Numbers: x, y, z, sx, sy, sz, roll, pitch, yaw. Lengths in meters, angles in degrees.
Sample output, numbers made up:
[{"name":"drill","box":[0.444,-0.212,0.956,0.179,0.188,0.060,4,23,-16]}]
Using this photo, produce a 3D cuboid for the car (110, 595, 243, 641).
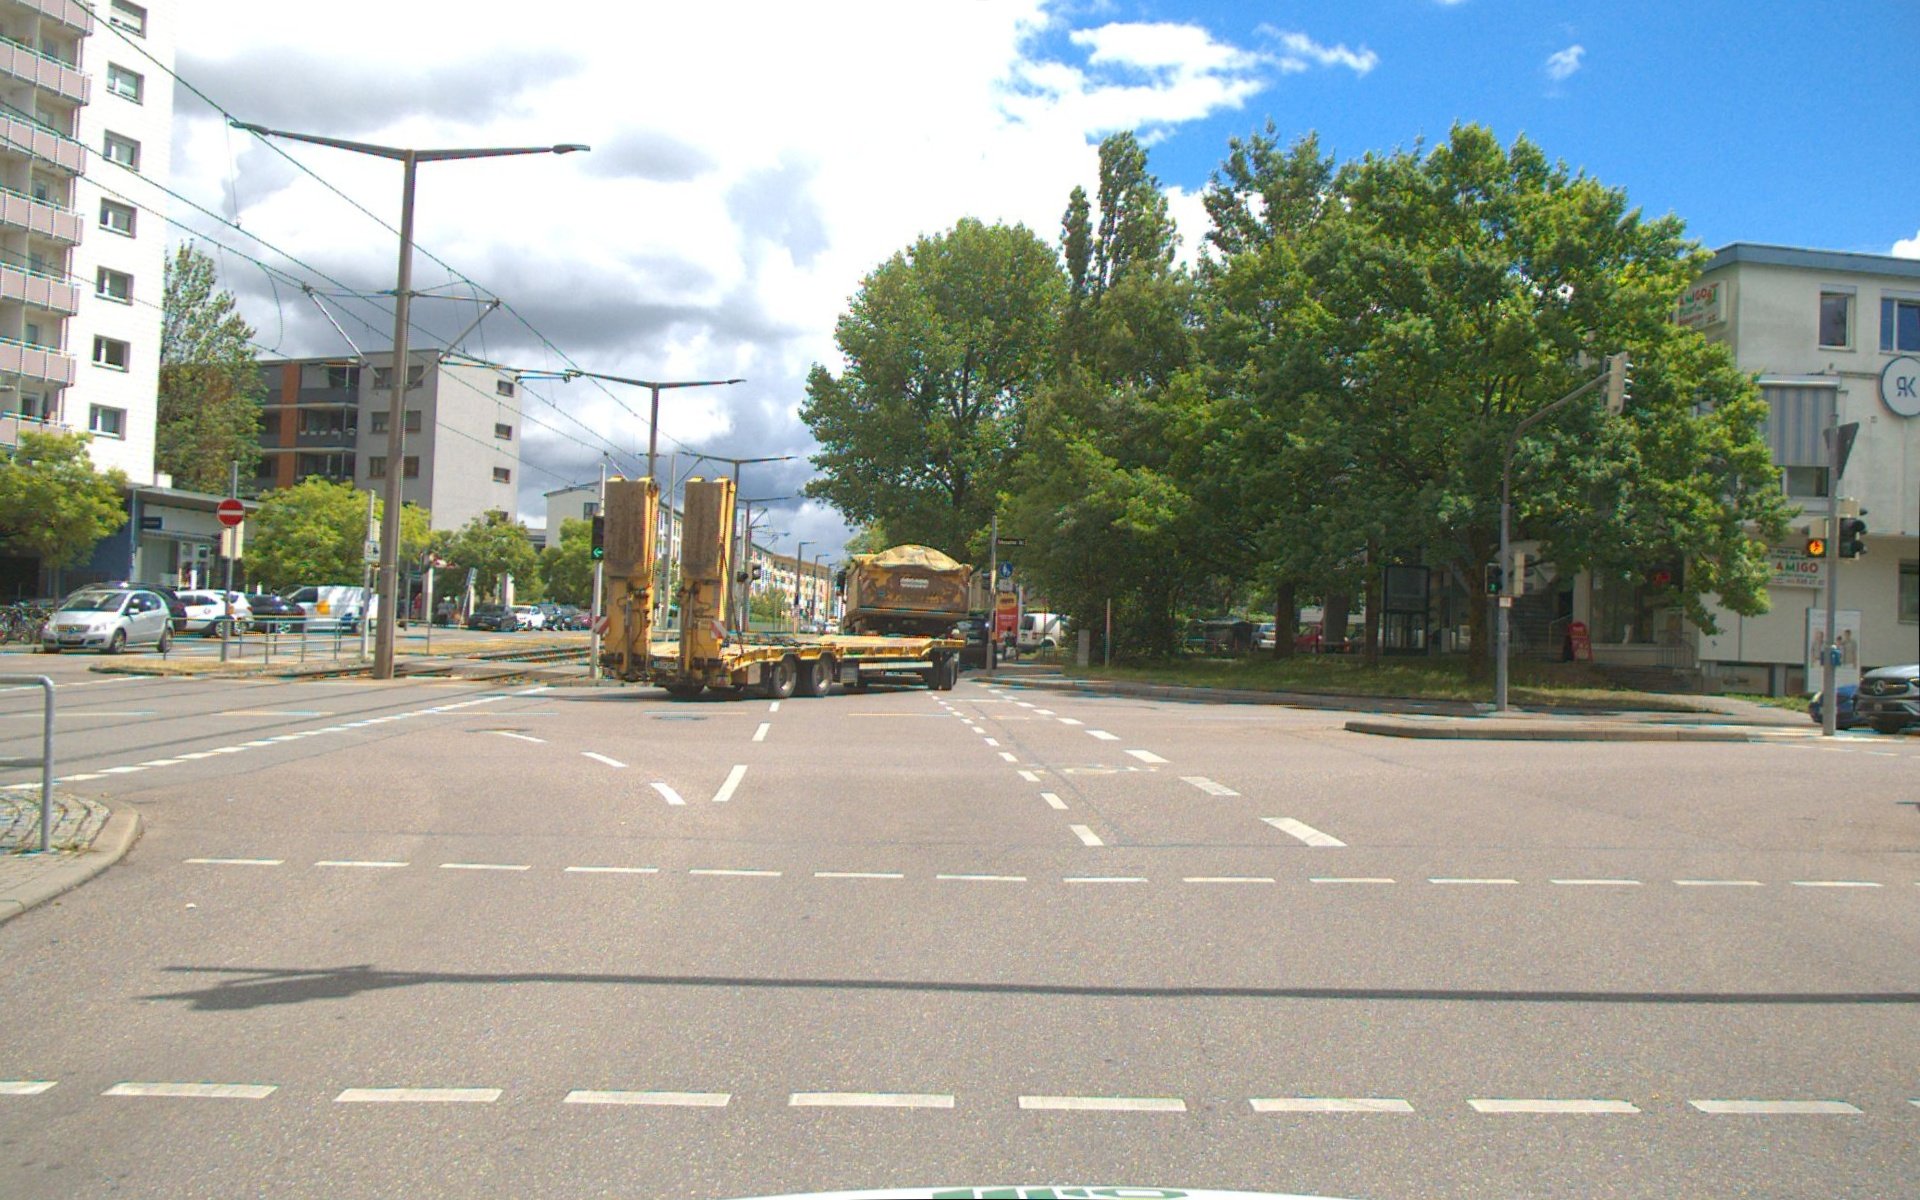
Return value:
[{"name":"car","box":[-26.536,0.614,56.079,3.736,1.522,1.720,1,0,-43]}]

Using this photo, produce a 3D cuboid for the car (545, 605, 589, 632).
[{"name":"car","box":[-26.051,1.219,109.684,1.953,1.677,4.099,1,0,0]}]

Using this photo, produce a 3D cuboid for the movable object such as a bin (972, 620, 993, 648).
[{"name":"movable object such as a bin","box":[1.243,1.861,90.725,1.077,1.464,0.760,1,-1,-6]}]

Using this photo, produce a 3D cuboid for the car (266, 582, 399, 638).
[{"name":"car","box":[-25.548,0.421,67.479,1.875,2.194,4.727,1,-1,45]}]

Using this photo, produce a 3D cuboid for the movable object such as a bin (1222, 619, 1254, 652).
[{"name":"movable object such as a bin","box":[12.458,1.593,74.144,1.093,1.455,1.284,1,0,-6]}]

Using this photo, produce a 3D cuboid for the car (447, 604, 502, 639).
[{"name":"car","box":[-25.550,1.126,87.215,1.955,1.691,4.095,3,0,-5]}]

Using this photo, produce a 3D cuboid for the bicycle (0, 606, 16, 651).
[{"name":"bicycle","box":[-24.900,0.688,41.122,2.378,1.085,0.704,1,0,-2]}]

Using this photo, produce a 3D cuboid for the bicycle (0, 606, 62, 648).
[{"name":"bicycle","box":[-25.025,0.696,43.513,2.378,1.085,0.704,1,0,-2]}]

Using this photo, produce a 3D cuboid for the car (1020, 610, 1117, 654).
[{"name":"car","box":[4.787,1.412,72.890,3.939,1.855,1.795,1,0,-27]}]

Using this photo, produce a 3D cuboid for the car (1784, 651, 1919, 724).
[{"name":"car","box":[17.212,1.590,29.763,3.886,1.247,1.909,1,-3,-9]}]

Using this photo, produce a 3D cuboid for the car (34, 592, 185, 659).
[{"name":"car","box":[-21.267,0.621,41.515,1.781,1.559,3.755,1,0,1]}]

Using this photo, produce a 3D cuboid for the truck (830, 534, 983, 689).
[{"name":"truck","box":[-1.479,0.272,40.693,2.781,3.388,7.968,1,0,-9]}]

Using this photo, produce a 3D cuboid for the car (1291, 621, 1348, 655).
[{"name":"car","box":[16.776,1.750,77.317,1.708,1.468,3.999,1,0,-1]}]

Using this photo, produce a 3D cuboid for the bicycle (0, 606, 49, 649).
[{"name":"bicycle","box":[-24.970,0.694,42.759,2.378,1.085,0.704,1,0,-2]}]

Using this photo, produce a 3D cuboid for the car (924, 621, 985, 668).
[{"name":"car","box":[-0.231,1.501,56.508,1.612,1.483,4.069,1,0,-7]}]

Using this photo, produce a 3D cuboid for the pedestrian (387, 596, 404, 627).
[{"name":"pedestrian","box":[-29.336,0.576,85.965,0.656,1.601,0.681,1,-1,-31]}]

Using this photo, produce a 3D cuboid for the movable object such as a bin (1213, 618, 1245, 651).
[{"name":"movable object such as a bin","box":[12.296,1.585,75.622,1.093,1.455,1.284,1,0,-6]}]

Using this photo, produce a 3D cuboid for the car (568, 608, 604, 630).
[{"name":"car","box":[-26.295,1.334,116.430,1.579,1.451,3.424,1,0,3]}]

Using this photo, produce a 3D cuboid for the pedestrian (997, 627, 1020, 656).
[{"name":"pedestrian","box":[1.832,1.583,62.682,0.761,1.073,0.546,1,-1,-10]}]

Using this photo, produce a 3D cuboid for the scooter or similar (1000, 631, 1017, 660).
[{"name":"scooter or similar","box":[1.838,1.719,62.692,0.468,1.073,0.895,1,0,-9]}]

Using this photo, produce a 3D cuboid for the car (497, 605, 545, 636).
[{"name":"car","box":[-25.557,1.162,96.446,1.955,1.691,4.095,3,0,-5]}]

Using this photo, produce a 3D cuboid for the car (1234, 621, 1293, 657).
[{"name":"car","box":[14.057,1.782,76.695,1.901,1.516,3.999,1,0,-1]}]

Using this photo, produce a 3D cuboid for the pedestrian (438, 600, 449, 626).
[{"name":"pedestrian","box":[-30.235,0.776,96.846,0.492,1.486,0.555,1,-1,-31]}]

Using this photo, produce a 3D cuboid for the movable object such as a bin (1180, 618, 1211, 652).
[{"name":"movable object such as a bin","box":[10.414,1.542,73.156,1.093,1.455,1.284,1,0,-6]}]

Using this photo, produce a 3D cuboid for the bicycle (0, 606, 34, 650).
[{"name":"bicycle","box":[-24.931,0.691,42.004,2.378,1.085,0.704,1,0,-2]}]

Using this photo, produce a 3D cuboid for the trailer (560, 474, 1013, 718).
[{"name":"trailer","box":[-2.715,-0.025,31.868,2.991,3.839,11.601,1,0,26]}]

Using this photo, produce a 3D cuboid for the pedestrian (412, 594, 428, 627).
[{"name":"pedestrian","box":[-29.891,0.565,91.535,0.599,1.824,0.843,1,-1,-4]}]

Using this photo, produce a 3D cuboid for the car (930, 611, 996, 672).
[{"name":"car","box":[0.051,1.257,52.023,1.612,1.793,4.564,1,0,-6]}]

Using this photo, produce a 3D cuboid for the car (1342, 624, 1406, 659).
[{"name":"car","box":[19.124,1.896,76.610,1.709,1.496,3.997,1,0,-4]}]

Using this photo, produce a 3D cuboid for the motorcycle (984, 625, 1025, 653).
[{"name":"motorcycle","box":[2.075,1.802,76.560,1.773,1.231,0.706,1,-1,-26]}]

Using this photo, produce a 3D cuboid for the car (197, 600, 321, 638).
[{"name":"car","box":[-26.649,0.730,62.935,1.875,1.408,3.971,1,0,45]}]

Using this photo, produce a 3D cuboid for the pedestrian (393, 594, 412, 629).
[{"name":"pedestrian","box":[-27.710,0.558,82.241,0.827,1.678,0.610,2,-1,-17]}]

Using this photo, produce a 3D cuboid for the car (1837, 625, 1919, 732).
[{"name":"car","box":[16.611,1.268,26.227,4.555,1.620,1.919,1,-3,-9]}]

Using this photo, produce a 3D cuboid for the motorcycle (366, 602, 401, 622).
[{"name":"motorcycle","box":[-35.121,0.733,100.759,1.855,1.199,0.740,1,0,-6]}]

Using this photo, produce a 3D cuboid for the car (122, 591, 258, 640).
[{"name":"car","box":[-27.282,0.552,58.665,1.872,1.660,3.977,1,0,41]}]
